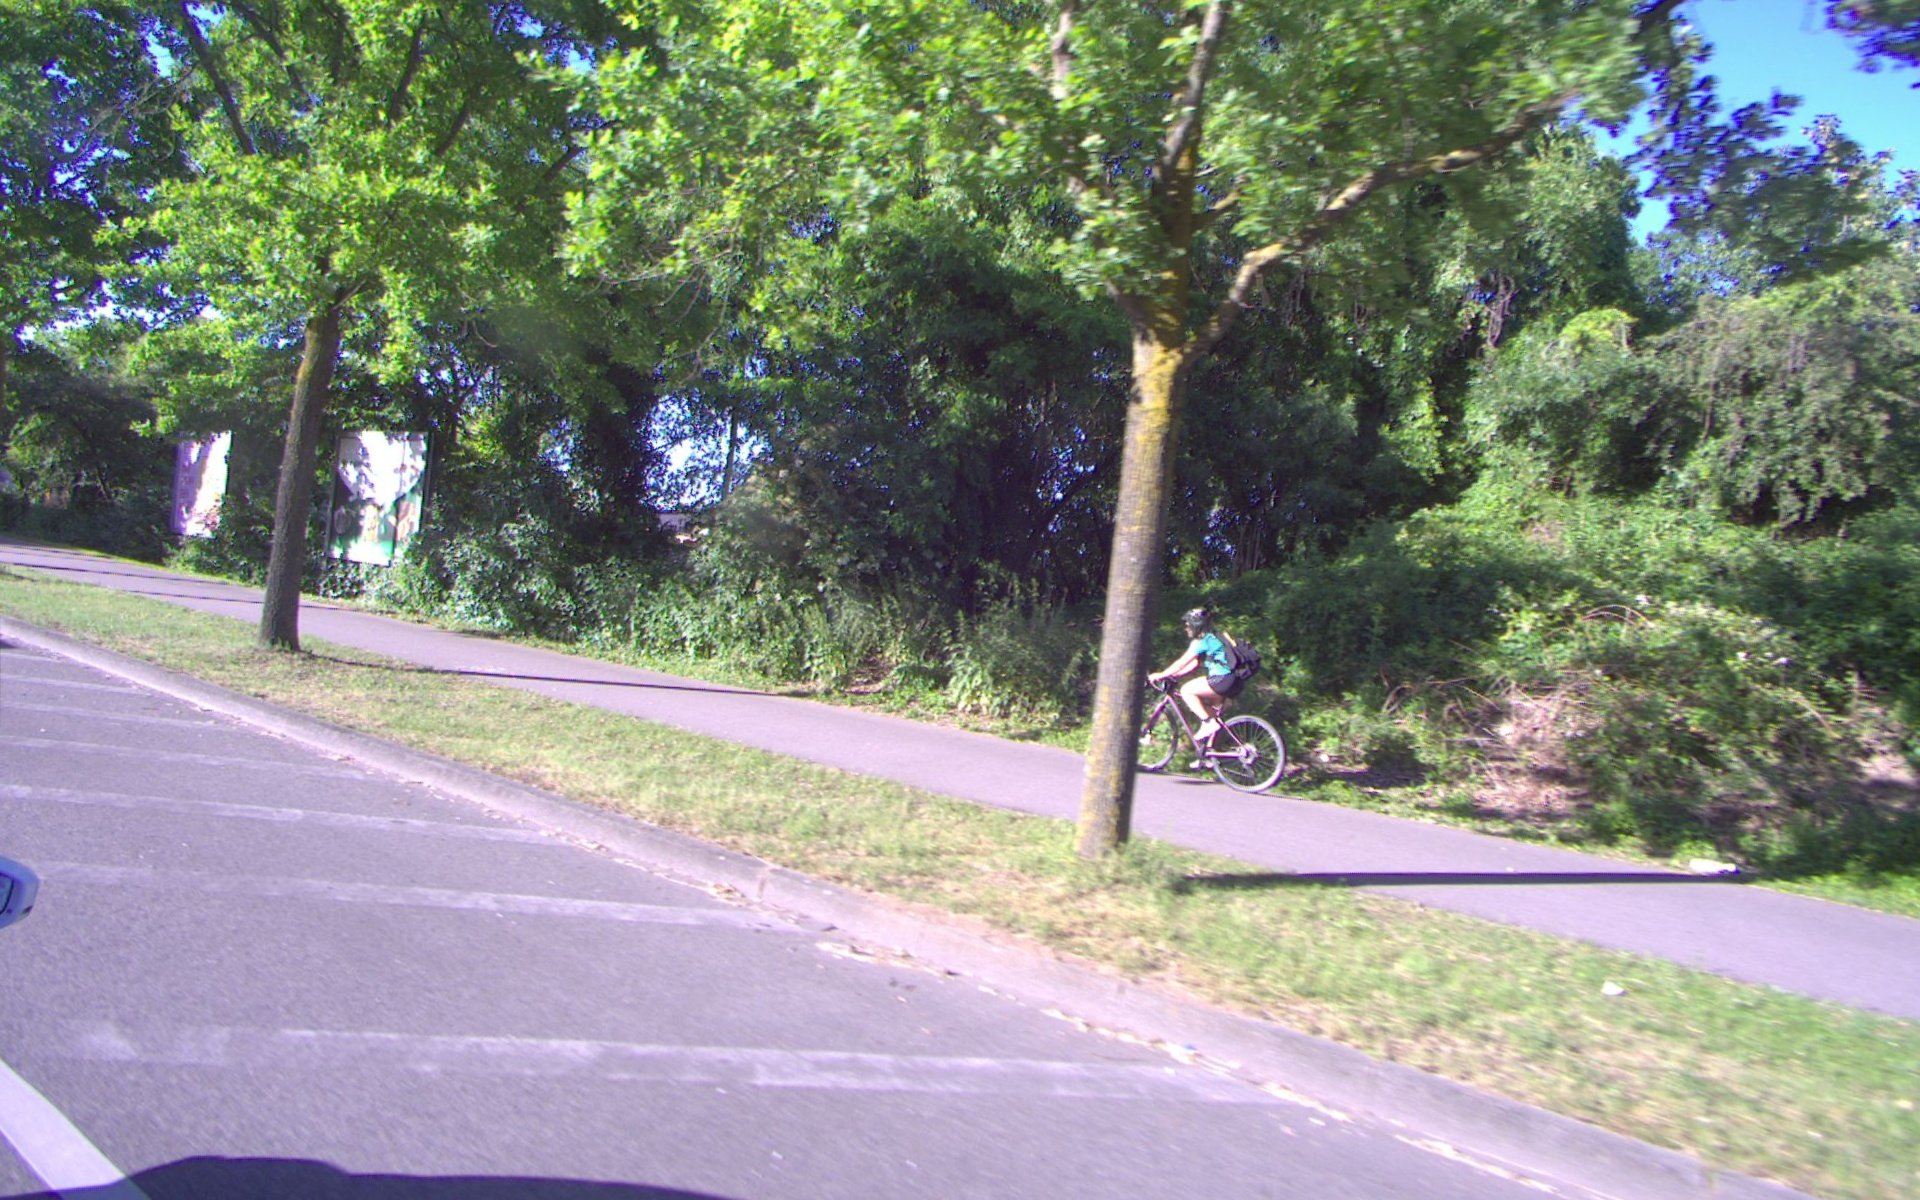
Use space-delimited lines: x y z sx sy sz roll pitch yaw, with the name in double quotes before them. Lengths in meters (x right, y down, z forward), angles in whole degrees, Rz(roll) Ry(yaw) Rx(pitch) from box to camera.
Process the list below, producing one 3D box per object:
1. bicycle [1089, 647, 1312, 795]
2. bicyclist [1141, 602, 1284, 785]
"bicycle" 2.271 1.113 9.600 1.903 1.086 0.517 7 0 28
"bicyclist" 2.397 0.863 9.528 1.018 1.541 0.686 7 0 28
